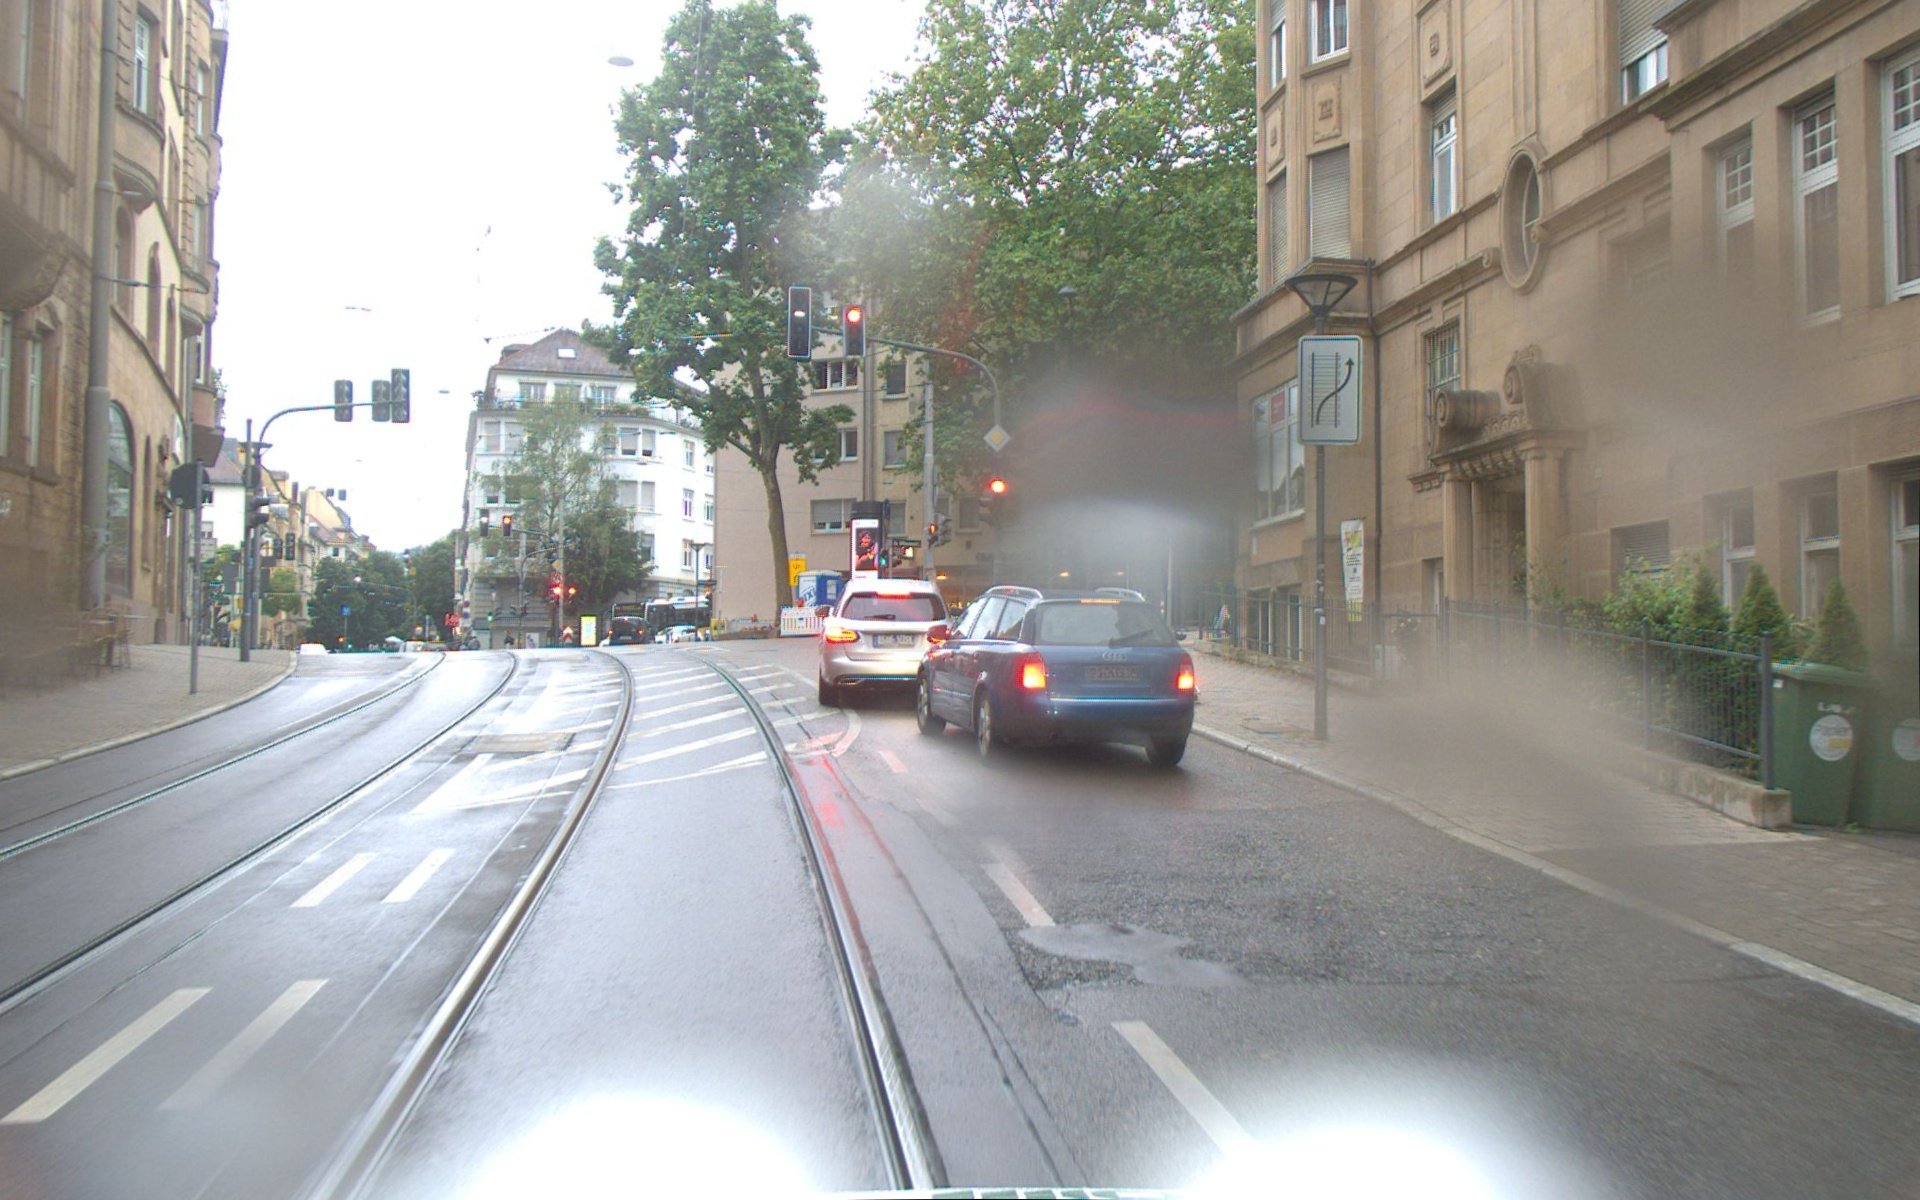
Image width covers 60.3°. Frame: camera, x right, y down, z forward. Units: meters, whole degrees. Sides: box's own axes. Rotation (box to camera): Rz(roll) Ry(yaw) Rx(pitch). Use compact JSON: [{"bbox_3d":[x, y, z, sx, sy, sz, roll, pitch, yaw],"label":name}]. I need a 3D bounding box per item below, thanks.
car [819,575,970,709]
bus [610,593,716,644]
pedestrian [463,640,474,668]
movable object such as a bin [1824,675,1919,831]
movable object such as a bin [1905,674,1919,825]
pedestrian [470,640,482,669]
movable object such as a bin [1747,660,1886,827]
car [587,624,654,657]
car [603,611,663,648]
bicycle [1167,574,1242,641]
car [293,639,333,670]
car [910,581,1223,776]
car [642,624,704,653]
[{"bbox_3d":[-0.867,0.450,20.495,1.677,1.481,3.550,1,1,-4],"label":"car"},{"bbox_3d":[-18.374,1.078,103.101,2.794,2.911,8.739,0,1,17],"label":"bus"},{"bbox_3d":[-30.575,3.345,102.907,0.638,1.690,0.647,1,0,-17],"label":"pedestrian"},{"bbox_3d":[6.327,1.032,11.216,0.527,0.985,0.603,4,-1,-9],"label":"movable object such as a bin"},{"bbox_3d":[6.949,1.056,11.324,0.527,1.044,0.603,4,-1,-9],"label":"movable object such as a bin"},{"bbox_3d":[-29.244,3.283,99.944,0.638,1.690,0.647,1,0,-17],"label":"pedestrian"},{"bbox_3d":[5.762,0.954,11.143,0.527,1.044,0.603,4,-1,-9],"label":"movable object such as a bin"},{"bbox_3d":[-18.764,2.236,91.492,1.757,1.642,4.001,0,1,20],"label":"car"},{"bbox_3d":[-15.047,1.341,76.285,1.757,1.536,4.001,-2,1,2],"label":"car"},{"bbox_3d":[4.598,0.133,31.134,1.276,1.194,0.525,-2,1,-9],"label":"bicycle"},{"bbox_3d":[-37.482,3.123,95.792,1.773,1.536,4.625,-1,1,-27],"label":"car"},{"bbox_3d":[0.778,0.591,14.724,1.681,1.440,4.023,1,1,-13],"label":"car"},{"bbox_3d":[-16.764,2.256,96.771,1.757,1.536,4.001,0,1,20],"label":"car"}]
